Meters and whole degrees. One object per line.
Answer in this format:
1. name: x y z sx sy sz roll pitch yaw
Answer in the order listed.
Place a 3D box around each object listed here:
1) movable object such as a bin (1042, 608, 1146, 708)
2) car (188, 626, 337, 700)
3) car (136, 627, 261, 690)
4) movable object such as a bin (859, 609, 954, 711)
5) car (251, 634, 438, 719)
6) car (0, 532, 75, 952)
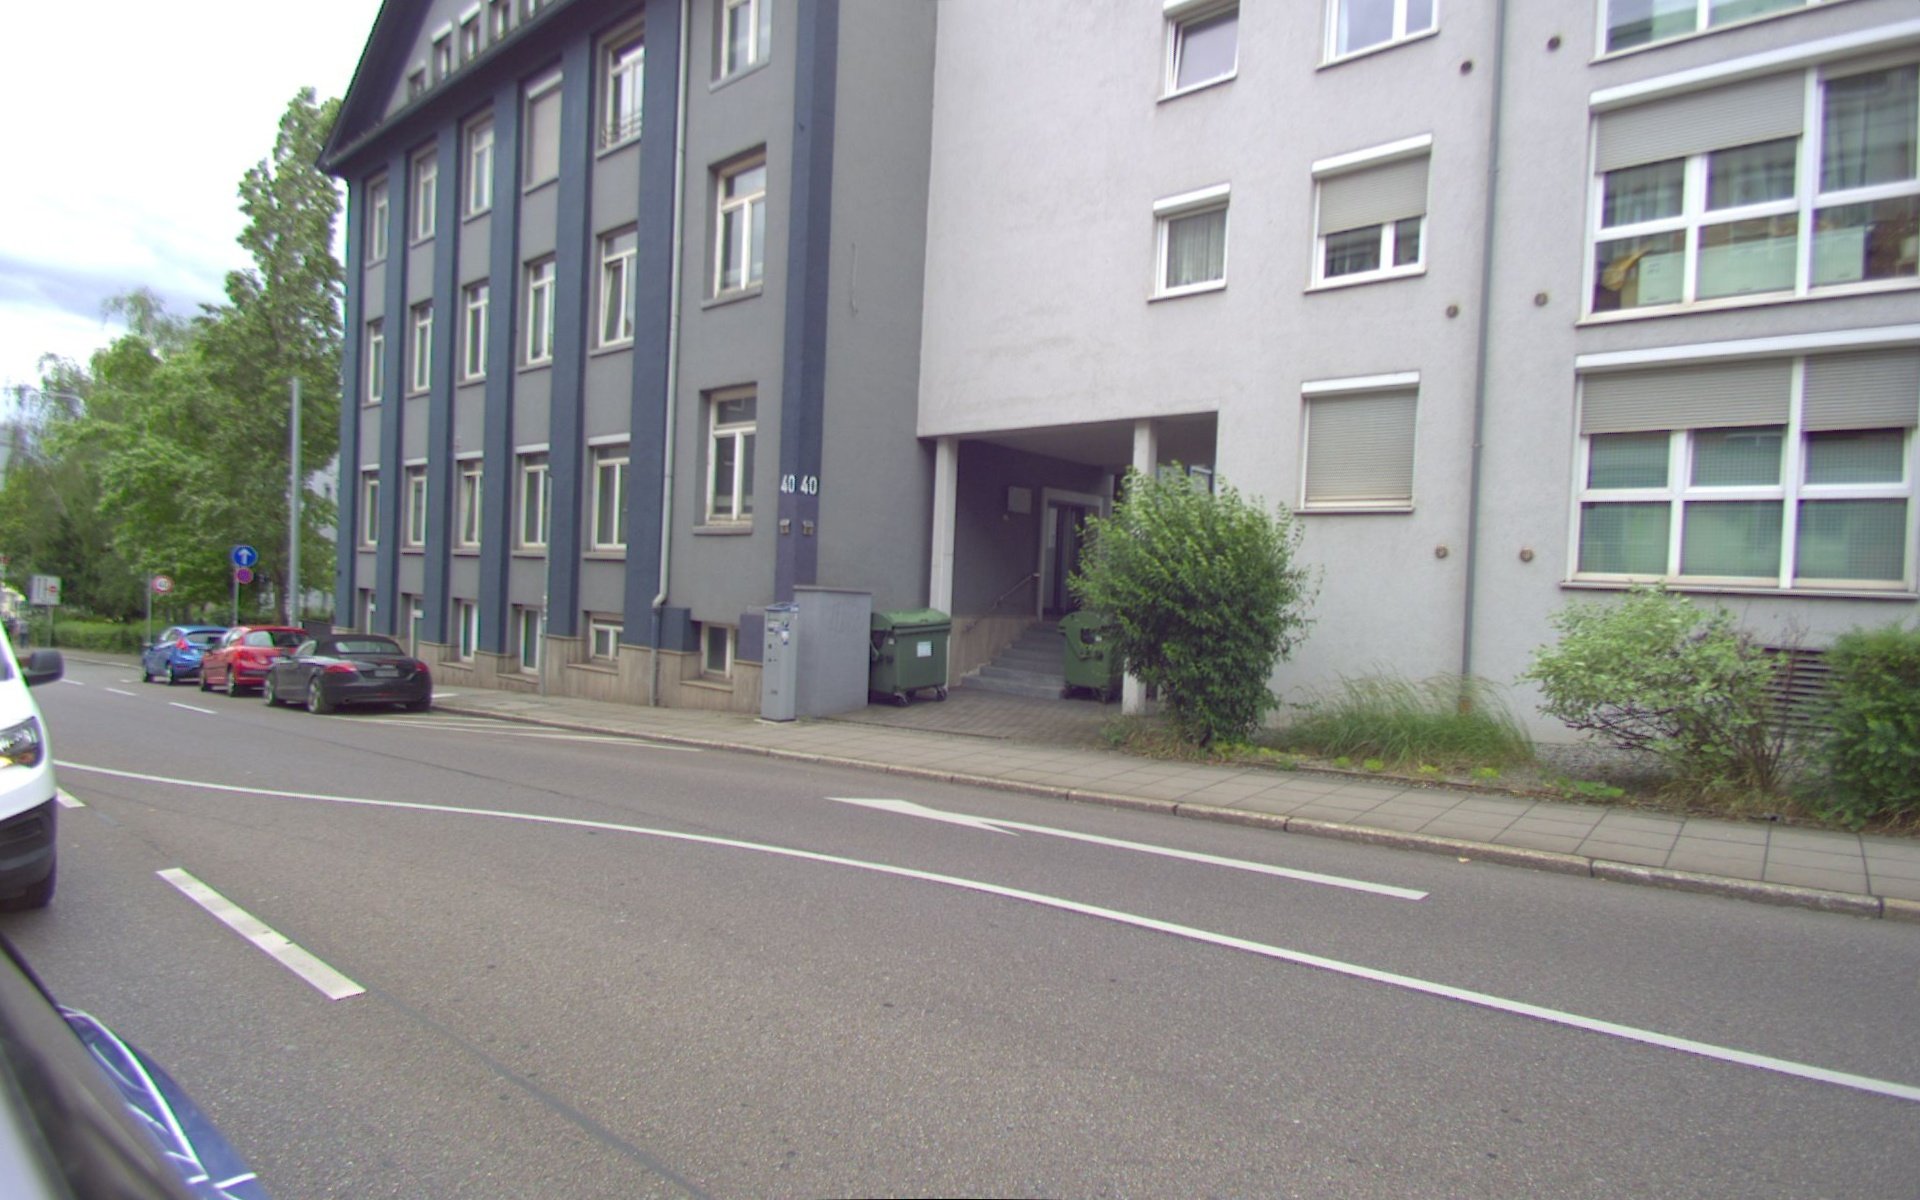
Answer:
1. movable object such as a bin: 2.207 0.921 16.640 1.190 1.489 1.132 5 2 41
2. car: -15.279 1.341 22.102 3.868 1.485 1.795 -2 -4 43
3. car: -19.358 1.445 25.692 3.724 1.465 1.702 -1 -3 40
4. movable object such as a bin: -0.815 0.897 15.687 0.784 1.467 1.251 0 1 44
5. car: -11.057 1.312 18.086 4.040 1.337 1.701 -1 -4 42
6. car: -6.460 0.666 5.539 4.937 1.821 1.816 -1 0 42
